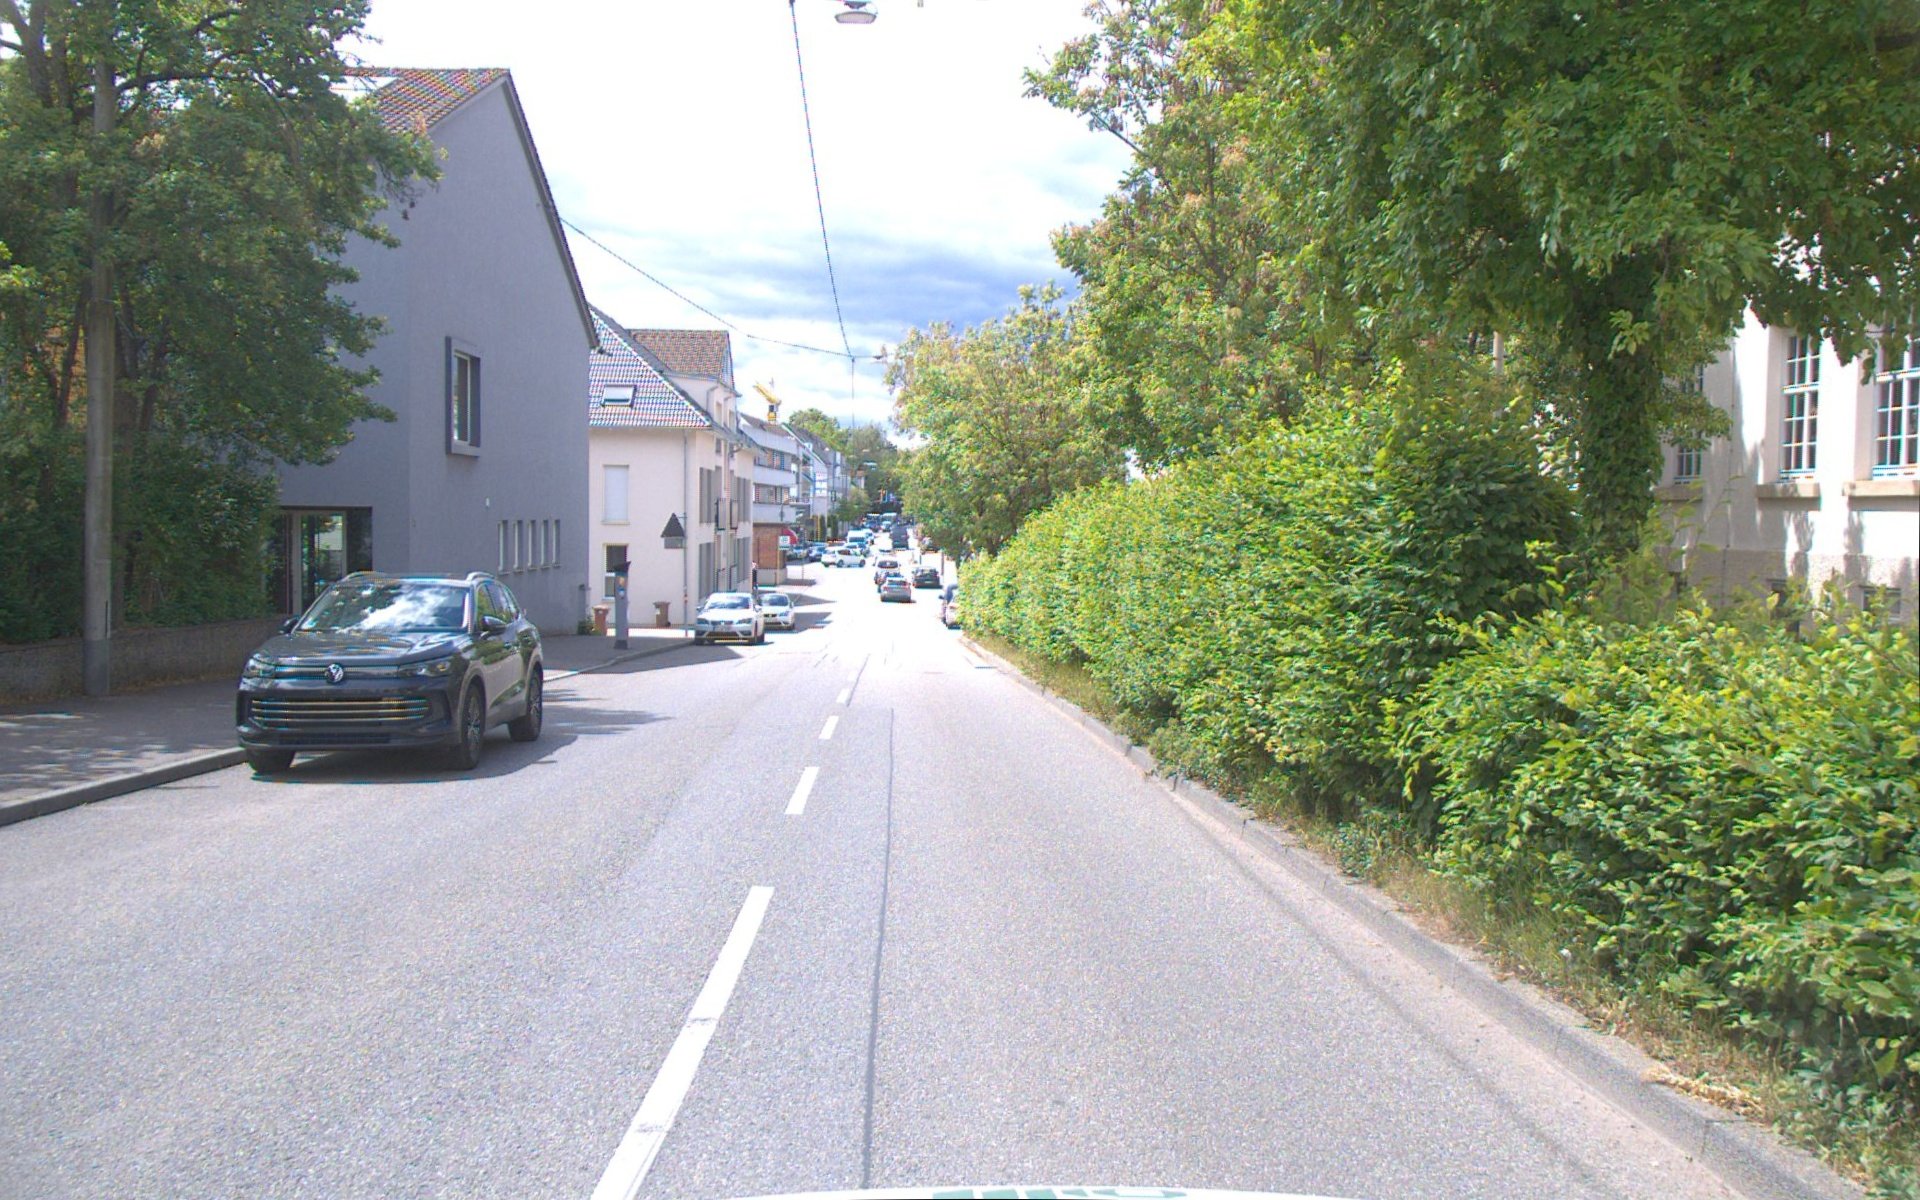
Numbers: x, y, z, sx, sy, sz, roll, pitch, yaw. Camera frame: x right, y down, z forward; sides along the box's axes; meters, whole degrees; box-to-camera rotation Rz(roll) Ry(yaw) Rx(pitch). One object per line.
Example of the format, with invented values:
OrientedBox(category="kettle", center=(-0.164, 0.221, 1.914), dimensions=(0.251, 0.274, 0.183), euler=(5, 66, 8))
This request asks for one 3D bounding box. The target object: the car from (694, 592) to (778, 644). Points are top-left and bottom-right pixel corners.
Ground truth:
OrientedBox(category="car", center=(-6.491, 0.504, 48.281), dimensions=(1.661, 1.414, 3.868), euler=(0, 1, 4))

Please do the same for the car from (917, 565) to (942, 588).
OrientedBox(category="car", center=(-2.178, -1.680, 117.598), dimensions=(1.717, 1.394, 4.000), euler=(1, 4, -2))

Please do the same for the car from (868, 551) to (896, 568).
OrientedBox(category="car", center=(-7.460, -3.869, 158.481), dimensions=(1.745, 1.518, 4.004), euler=(2, 1, 11))

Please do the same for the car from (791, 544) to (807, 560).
OrientedBox(category="car", center=(-16.097, -4.803, 165.215), dimensions=(1.356, 1.567, 3.397), euler=(1, 1, -2))

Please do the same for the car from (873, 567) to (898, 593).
OrientedBox(category="car", center=(-5.456, -1.483, 121.439), dimensions=(1.800, 1.894, 3.849), euler=(1, 1, -3))

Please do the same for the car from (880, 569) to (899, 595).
OrientedBox(category="car", center=(-4.701, -1.204, 110.583), dimensions=(1.248, 1.553, 3.050), euler=(0, 4, -3))

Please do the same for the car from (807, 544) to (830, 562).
OrientedBox(category="car", center=(-13.674, -4.559, 160.313), dimensions=(1.835, 1.668, 4.000), euler=(2, 1, 0))

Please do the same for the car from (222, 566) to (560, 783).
OrientedBox(category="car", center=(-4.910, 0.530, 14.980), dimensions=(1.760, 1.638, 4.642), euler=(1, 1, -4))

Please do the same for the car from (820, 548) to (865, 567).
OrientedBox(category="car", center=(-10.306, -3.726, 145.136), dimensions=(1.753, 1.584, 3.981), euler=(0, 1, 38))

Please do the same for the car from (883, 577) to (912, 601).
OrientedBox(category="car", center=(-3.862, -0.691, 101.852), dimensions=(1.709, 1.441, 3.999), euler=(0, 1, -3))

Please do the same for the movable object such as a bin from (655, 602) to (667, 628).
OrientedBox(category="movable object such as a bin", center=(-11.240, 0.558, 62.143), dimensions=(0.405, 0.970, 0.391), euler=(0, 0, -6))

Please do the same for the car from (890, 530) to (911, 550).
OrientedBox(category="car", center=(-7.255, -7.311, 201.766), dimensions=(2.388, 2.358, 5.324), euler=(2, 1, -3))

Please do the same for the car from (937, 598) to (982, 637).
OrientedBox(category="car", center=(-0.063, 0.730, 71.550), dimensions=(1.750, 1.535, 4.363), euler=(1, 1, -2))

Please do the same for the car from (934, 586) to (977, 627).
OrientedBox(category="car", center=(-0.240, 0.274, 77.023), dimensions=(1.807, 1.798, 4.513), euler=(1, 1, -2))

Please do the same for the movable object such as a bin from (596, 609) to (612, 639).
OrientedBox(category="movable object such as a bin", center=(-11.438, 0.780, 53.133), dimensions=(0.445, 0.945, 0.399), euler=(0, 0, -3))

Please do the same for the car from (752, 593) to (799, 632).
OrientedBox(category="car", center=(-7.367, 0.484, 66.249), dimensions=(1.614, 1.443, 3.697), euler=(1, 1, -3))
